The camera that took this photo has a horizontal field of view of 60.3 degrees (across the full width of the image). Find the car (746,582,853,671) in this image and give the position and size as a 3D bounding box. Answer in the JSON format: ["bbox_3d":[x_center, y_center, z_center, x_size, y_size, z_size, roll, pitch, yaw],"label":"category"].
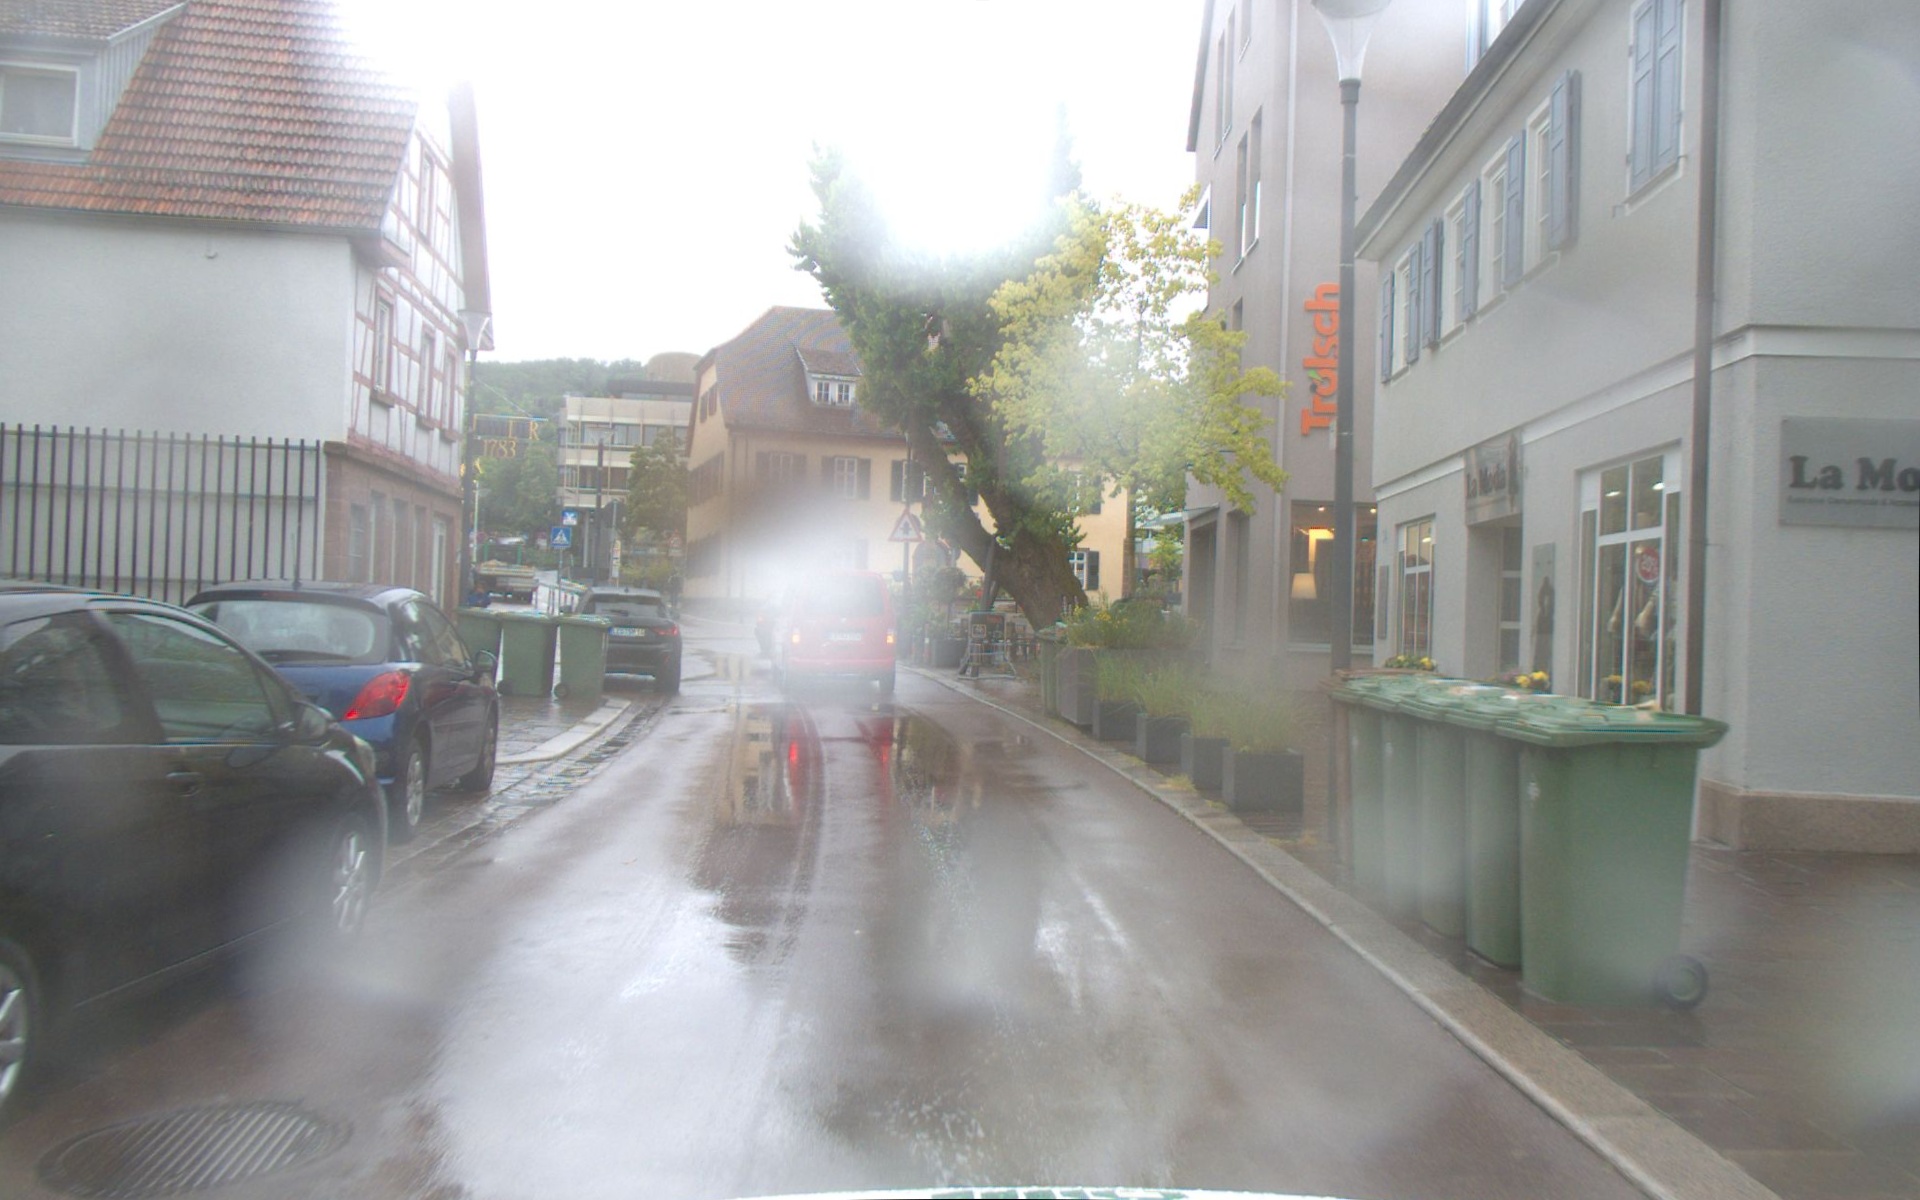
[{"bbox_3d":[-3.610,0.631,37.910,1.953,1.831,3.999,3,-1,0],"label":"car"}]

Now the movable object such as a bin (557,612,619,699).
[{"bbox_3d":[-5.046,0.744,22.458,0.712,1.129,0.644,3,-2,-8],"label":"movable object such as a bin"}]

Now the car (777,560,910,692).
[{"bbox_3d":[-1.892,0.342,26.402,1.857,1.842,3.996,4,1,-5],"label":"car"}]

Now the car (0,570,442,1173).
[{"bbox_3d":[-3.246,0.671,5.634,1.657,1.468,3.885,3,1,0],"label":"car"}]

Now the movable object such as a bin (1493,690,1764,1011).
[{"bbox_3d":[2.511,0.919,6.270,0.752,1.098,0.599,3,-2,0],"label":"movable object such as a bin"}]

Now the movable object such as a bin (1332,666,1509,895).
[{"bbox_3d":[2.402,0.926,8.686,0.720,1.117,0.611,2,-2,-1],"label":"movable object such as a bin"}]

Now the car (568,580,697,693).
[{"bbox_3d":[-5.211,0.514,25.999,1.757,1.521,3.986,3,0,-14],"label":"car"}]

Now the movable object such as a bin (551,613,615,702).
[{"bbox_3d":[-4.964,0.757,21.812,0.712,1.129,0.595,3,-2,-8],"label":"movable object such as a bin"}]

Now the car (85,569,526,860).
[{"bbox_3d":[-4.051,0.595,10.934,1.723,1.499,3.938,3,1,-8],"label":"car"}]

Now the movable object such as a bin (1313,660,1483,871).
[{"bbox_3d":[2.435,0.904,9.248,0.738,1.109,0.656,1,0,-4],"label":"movable object such as a bin"}]

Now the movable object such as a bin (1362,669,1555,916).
[{"bbox_3d":[2.418,0.918,8.083,0.720,1.117,0.611,2,-2,-1],"label":"movable object such as a bin"}]

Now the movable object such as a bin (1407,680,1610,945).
[{"bbox_3d":[2.470,0.941,7.492,0.714,1.110,0.521,3,-2,0],"label":"movable object such as a bin"}]

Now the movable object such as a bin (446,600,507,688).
[{"bbox_3d":[-6.489,0.591,22.215,0.647,1.129,0.614,3,-2,-8],"label":"movable object such as a bin"}]

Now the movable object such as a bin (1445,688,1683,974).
[{"bbox_3d":[2.503,0.939,6.910,0.739,1.082,0.600,3,-2,0],"label":"movable object such as a bin"}]

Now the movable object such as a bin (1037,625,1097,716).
[{"bbox_3d":[1.363,0.895,21.111,0.620,1.123,0.578,3,-2,-8],"label":"movable object such as a bin"}]

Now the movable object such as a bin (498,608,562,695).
[{"bbox_3d":[-5.791,0.689,22.294,0.712,1.129,0.595,3,-2,-8],"label":"movable object such as a bin"}]

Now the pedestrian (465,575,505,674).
[{"bbox_3d":[-8.518,0.435,29.672,0.508,1.741,0.577,3,-2,-8],"label":"pedestrian"}]

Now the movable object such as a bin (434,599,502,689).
[{"bbox_3d":[-6.419,0.569,21.602,0.712,1.129,0.595,3,-2,-8],"label":"movable object such as a bin"}]

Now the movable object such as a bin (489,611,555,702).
[{"bbox_3d":[-5.727,0.736,21.645,0.712,1.129,0.595,3,-2,-8],"label":"movable object such as a bin"}]

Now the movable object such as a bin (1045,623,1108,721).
[{"bbox_3d":[1.441,0.883,20.532,0.620,1.170,0.578,3,-2,-8],"label":"movable object such as a bin"}]

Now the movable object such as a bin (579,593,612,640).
[{"bbox_3d":[-9.071,0.405,41.164,0.701,1.125,0.598,3,-2,-11],"label":"movable object such as a bin"}]

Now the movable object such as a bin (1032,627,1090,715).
[{"bbox_3d":[1.348,0.946,22.165,0.664,1.122,0.579,3,-2,-5],"label":"movable object such as a bin"}]

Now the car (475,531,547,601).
[{"bbox_3d":[-18.980,-1.369,69.715,2.266,2.647,6.917,3,-1,-20],"label":"car"}]

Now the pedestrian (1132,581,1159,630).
[{"bbox_3d":[7.309,0.227,65.364,0.880,1.874,0.766,3,-2,-2],"label":"pedestrian"}]
